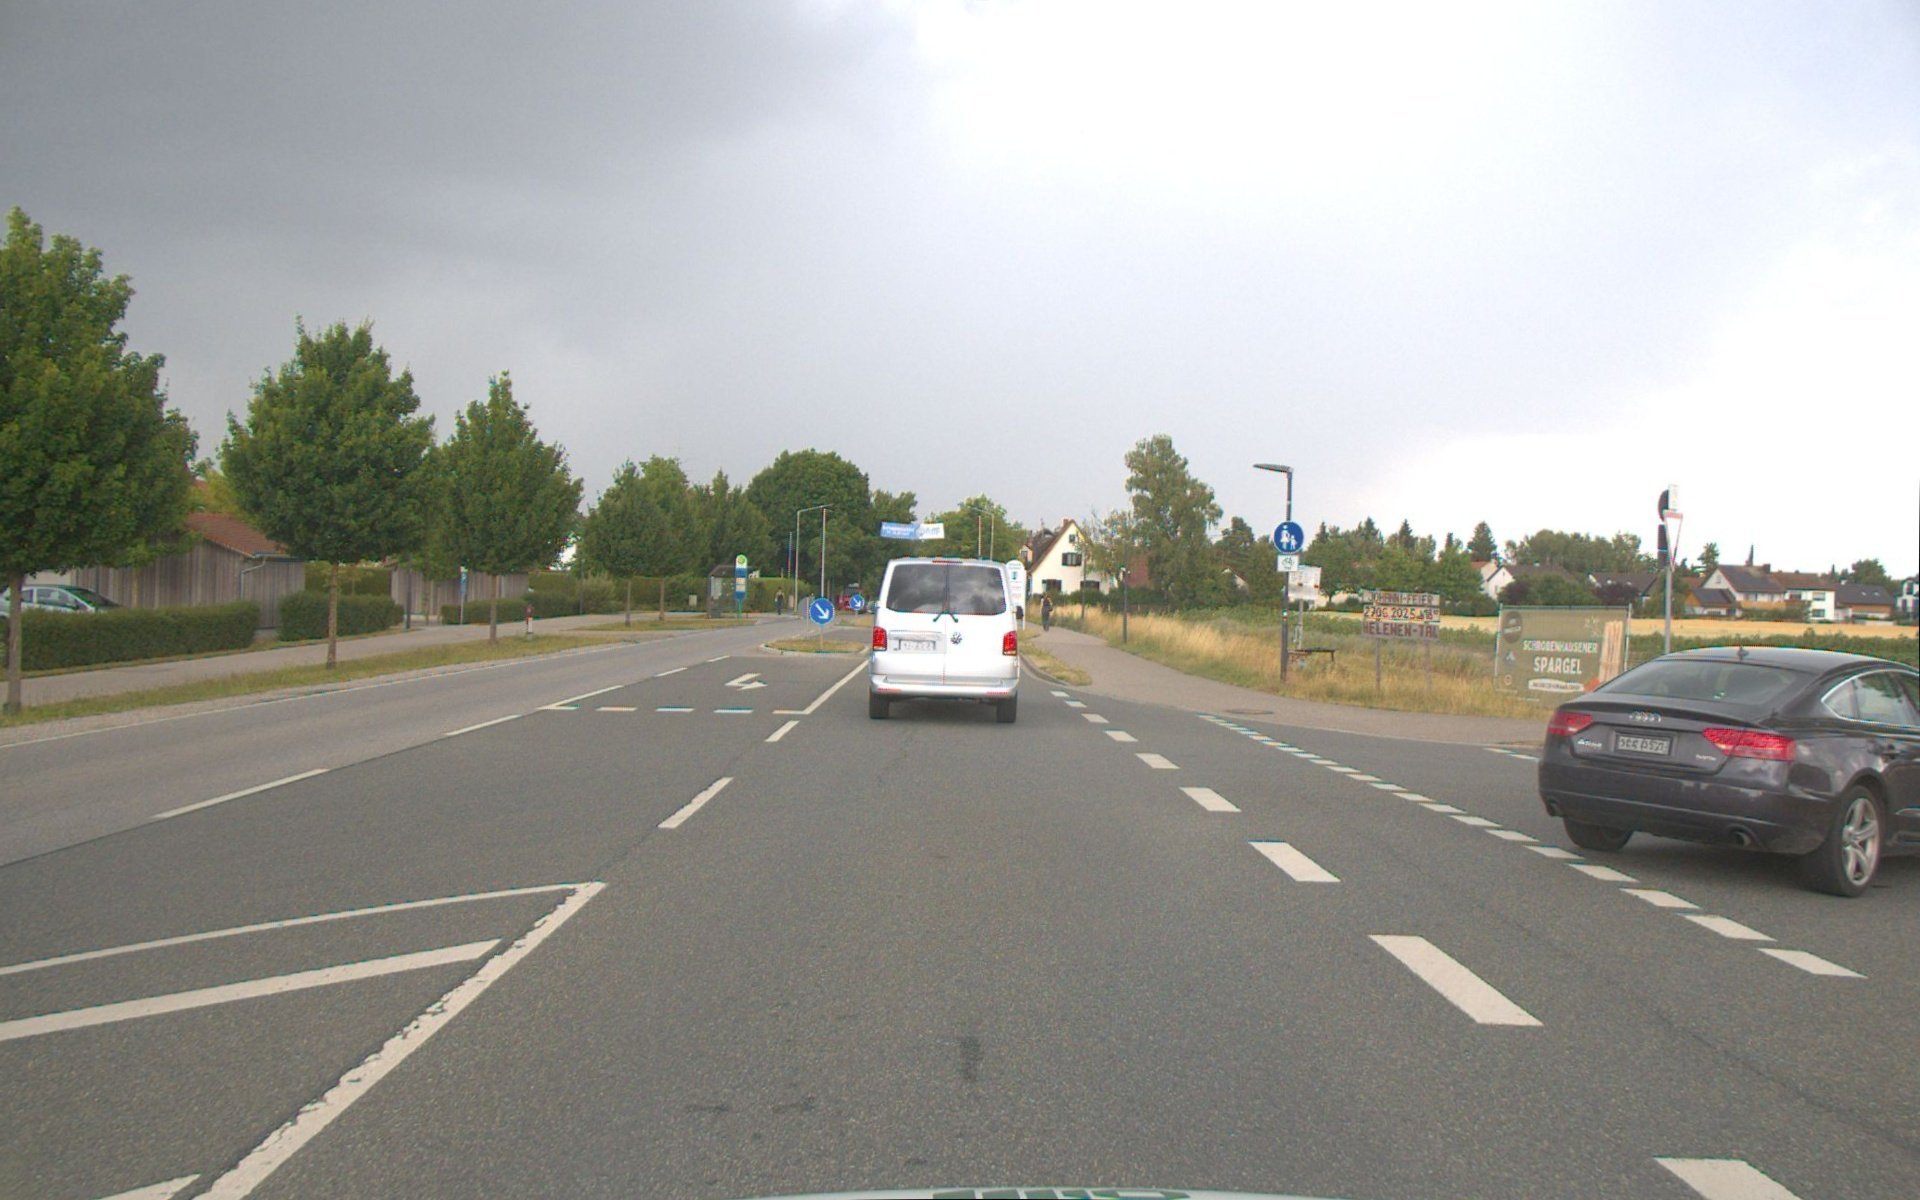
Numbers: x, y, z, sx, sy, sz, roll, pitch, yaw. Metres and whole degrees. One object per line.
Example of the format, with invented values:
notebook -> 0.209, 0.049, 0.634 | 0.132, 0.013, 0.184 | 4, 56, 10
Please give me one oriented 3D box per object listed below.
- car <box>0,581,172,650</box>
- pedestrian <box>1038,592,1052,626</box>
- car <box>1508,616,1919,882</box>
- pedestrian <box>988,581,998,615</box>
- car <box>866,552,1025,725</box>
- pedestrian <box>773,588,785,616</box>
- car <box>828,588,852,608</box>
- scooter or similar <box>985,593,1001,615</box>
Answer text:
car -> -23.057, 0.375, 43.241 | 3.905, 1.583, 2.000 | 3, 1, 0
pedestrian -> 3.906, 0.422, 75.928 | 0.611, 1.551, 0.679 | 0, 0, -1
car -> 5.679, 0.963, 11.004 | 4.344, 1.413, 1.806 | 5, -3, -39
pedestrian -> 1.692, -0.099, 85.813 | 0.475, 1.762, 0.642 | 0, 0, -1
car -> -0.247, 0.426, 21.301 | 1.789, 1.947, 3.998 | 2, 0, -2
pedestrian -> -10.144, 0.126, 92.606 | 0.611, 1.551, 0.679 | 0, 0, -1
car -> -9.247, -0.164, 127.861 | 1.620, 1.454, 3.601 | 0, 1, -1
scooter or similar -> 1.712, 0.203, 86.223 | 0.831, 1.123, 1.094 | 0, 0, -1
